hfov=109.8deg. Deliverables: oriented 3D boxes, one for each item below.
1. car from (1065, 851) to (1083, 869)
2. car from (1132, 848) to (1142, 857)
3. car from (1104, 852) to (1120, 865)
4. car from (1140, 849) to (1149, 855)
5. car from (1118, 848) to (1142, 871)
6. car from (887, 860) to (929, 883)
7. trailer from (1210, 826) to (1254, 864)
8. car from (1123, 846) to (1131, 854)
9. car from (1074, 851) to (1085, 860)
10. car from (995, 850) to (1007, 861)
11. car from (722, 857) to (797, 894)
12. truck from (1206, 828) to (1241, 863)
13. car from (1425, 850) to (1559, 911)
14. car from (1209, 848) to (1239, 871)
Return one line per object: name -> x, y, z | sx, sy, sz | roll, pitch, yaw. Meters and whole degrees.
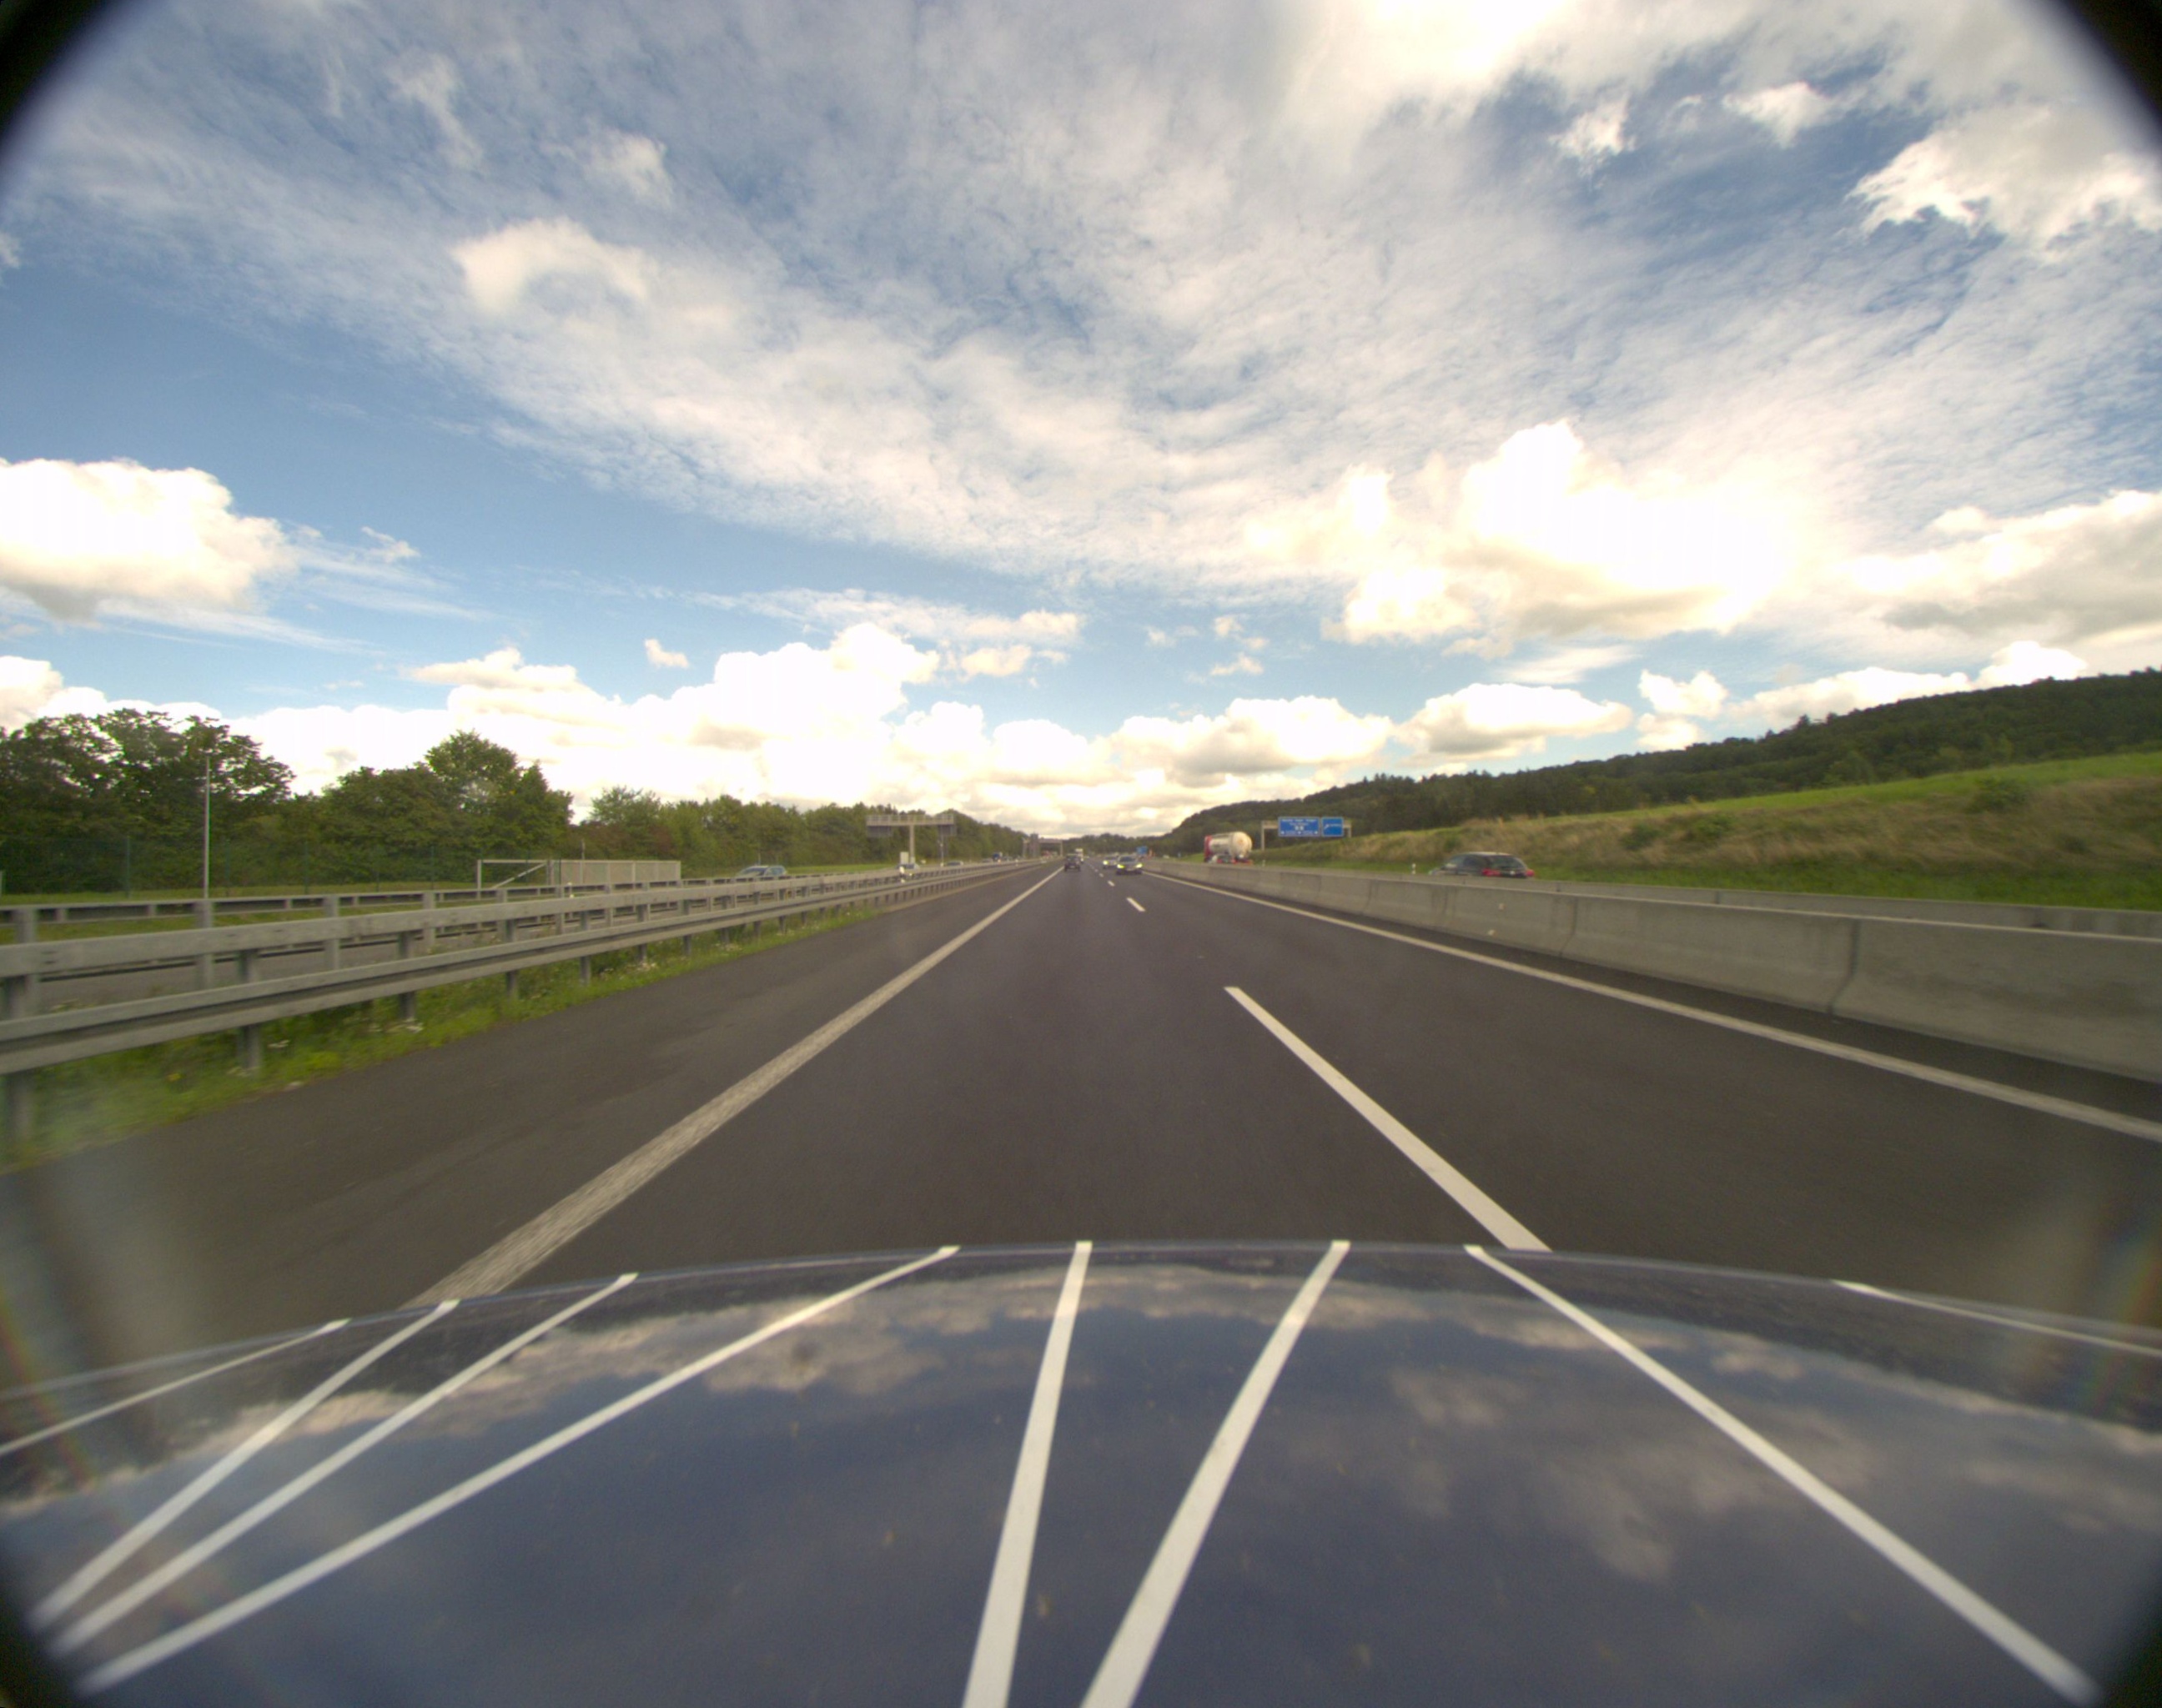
car -> -0.663, 0.563, 77.035 | 1.670, 1.722, 4.207 | -1, 0, 2
car -> 12.908, -0.409, 176.150 | 1.998, 2.002, 4.677 | -1, 0, 1
car -> 3.428, 0.492, 84.395 | 1.724, 1.406, 3.939 | -1, 0, 2
car -> 16.438, -0.507, 197.034 | 1.998, 1.470, 4.691 | 0, 0, 1
car -> 3.734, 0.397, 58.286 | 1.724, 1.722, 3.939 | -1, 1, 2
car -> -11.890, 1.171, 52.585 | 1.999, 1.476, 3.999 | -1, 0, -1
trailer -> 16.146, -0.966, 82.215 | 2.720, 3.864, 11.160 | 0, 0, 1
car -> 12.272, -1.064, 202.272 | 1.998, 2.002, 5.841 | 0, 0, 1
car -> -0.275, 0.237, 137.871 | 1.998, 1.591, 4.000 | 0, 1, 2
car -> -15.887, 0.289, 151.093 | 1.999, 2.173, 5.127 | -1, 1, -1
car -> -15.961, 1.011, 37.926 | 1.998, 1.698, 4.000 | 0, 1, 0
truck -> 16.249, -0.969, 87.095 | 2.744, 3.902, 6.901 | 0, 1, 1
car -> 12.556, 0.747, 23.546 | 1.998, 1.707, 4.000 | 0, 1, 0
car -> 11.898, 0.428, 63.443 | 1.812, 1.821, 4.396 | 0, 1, 1
